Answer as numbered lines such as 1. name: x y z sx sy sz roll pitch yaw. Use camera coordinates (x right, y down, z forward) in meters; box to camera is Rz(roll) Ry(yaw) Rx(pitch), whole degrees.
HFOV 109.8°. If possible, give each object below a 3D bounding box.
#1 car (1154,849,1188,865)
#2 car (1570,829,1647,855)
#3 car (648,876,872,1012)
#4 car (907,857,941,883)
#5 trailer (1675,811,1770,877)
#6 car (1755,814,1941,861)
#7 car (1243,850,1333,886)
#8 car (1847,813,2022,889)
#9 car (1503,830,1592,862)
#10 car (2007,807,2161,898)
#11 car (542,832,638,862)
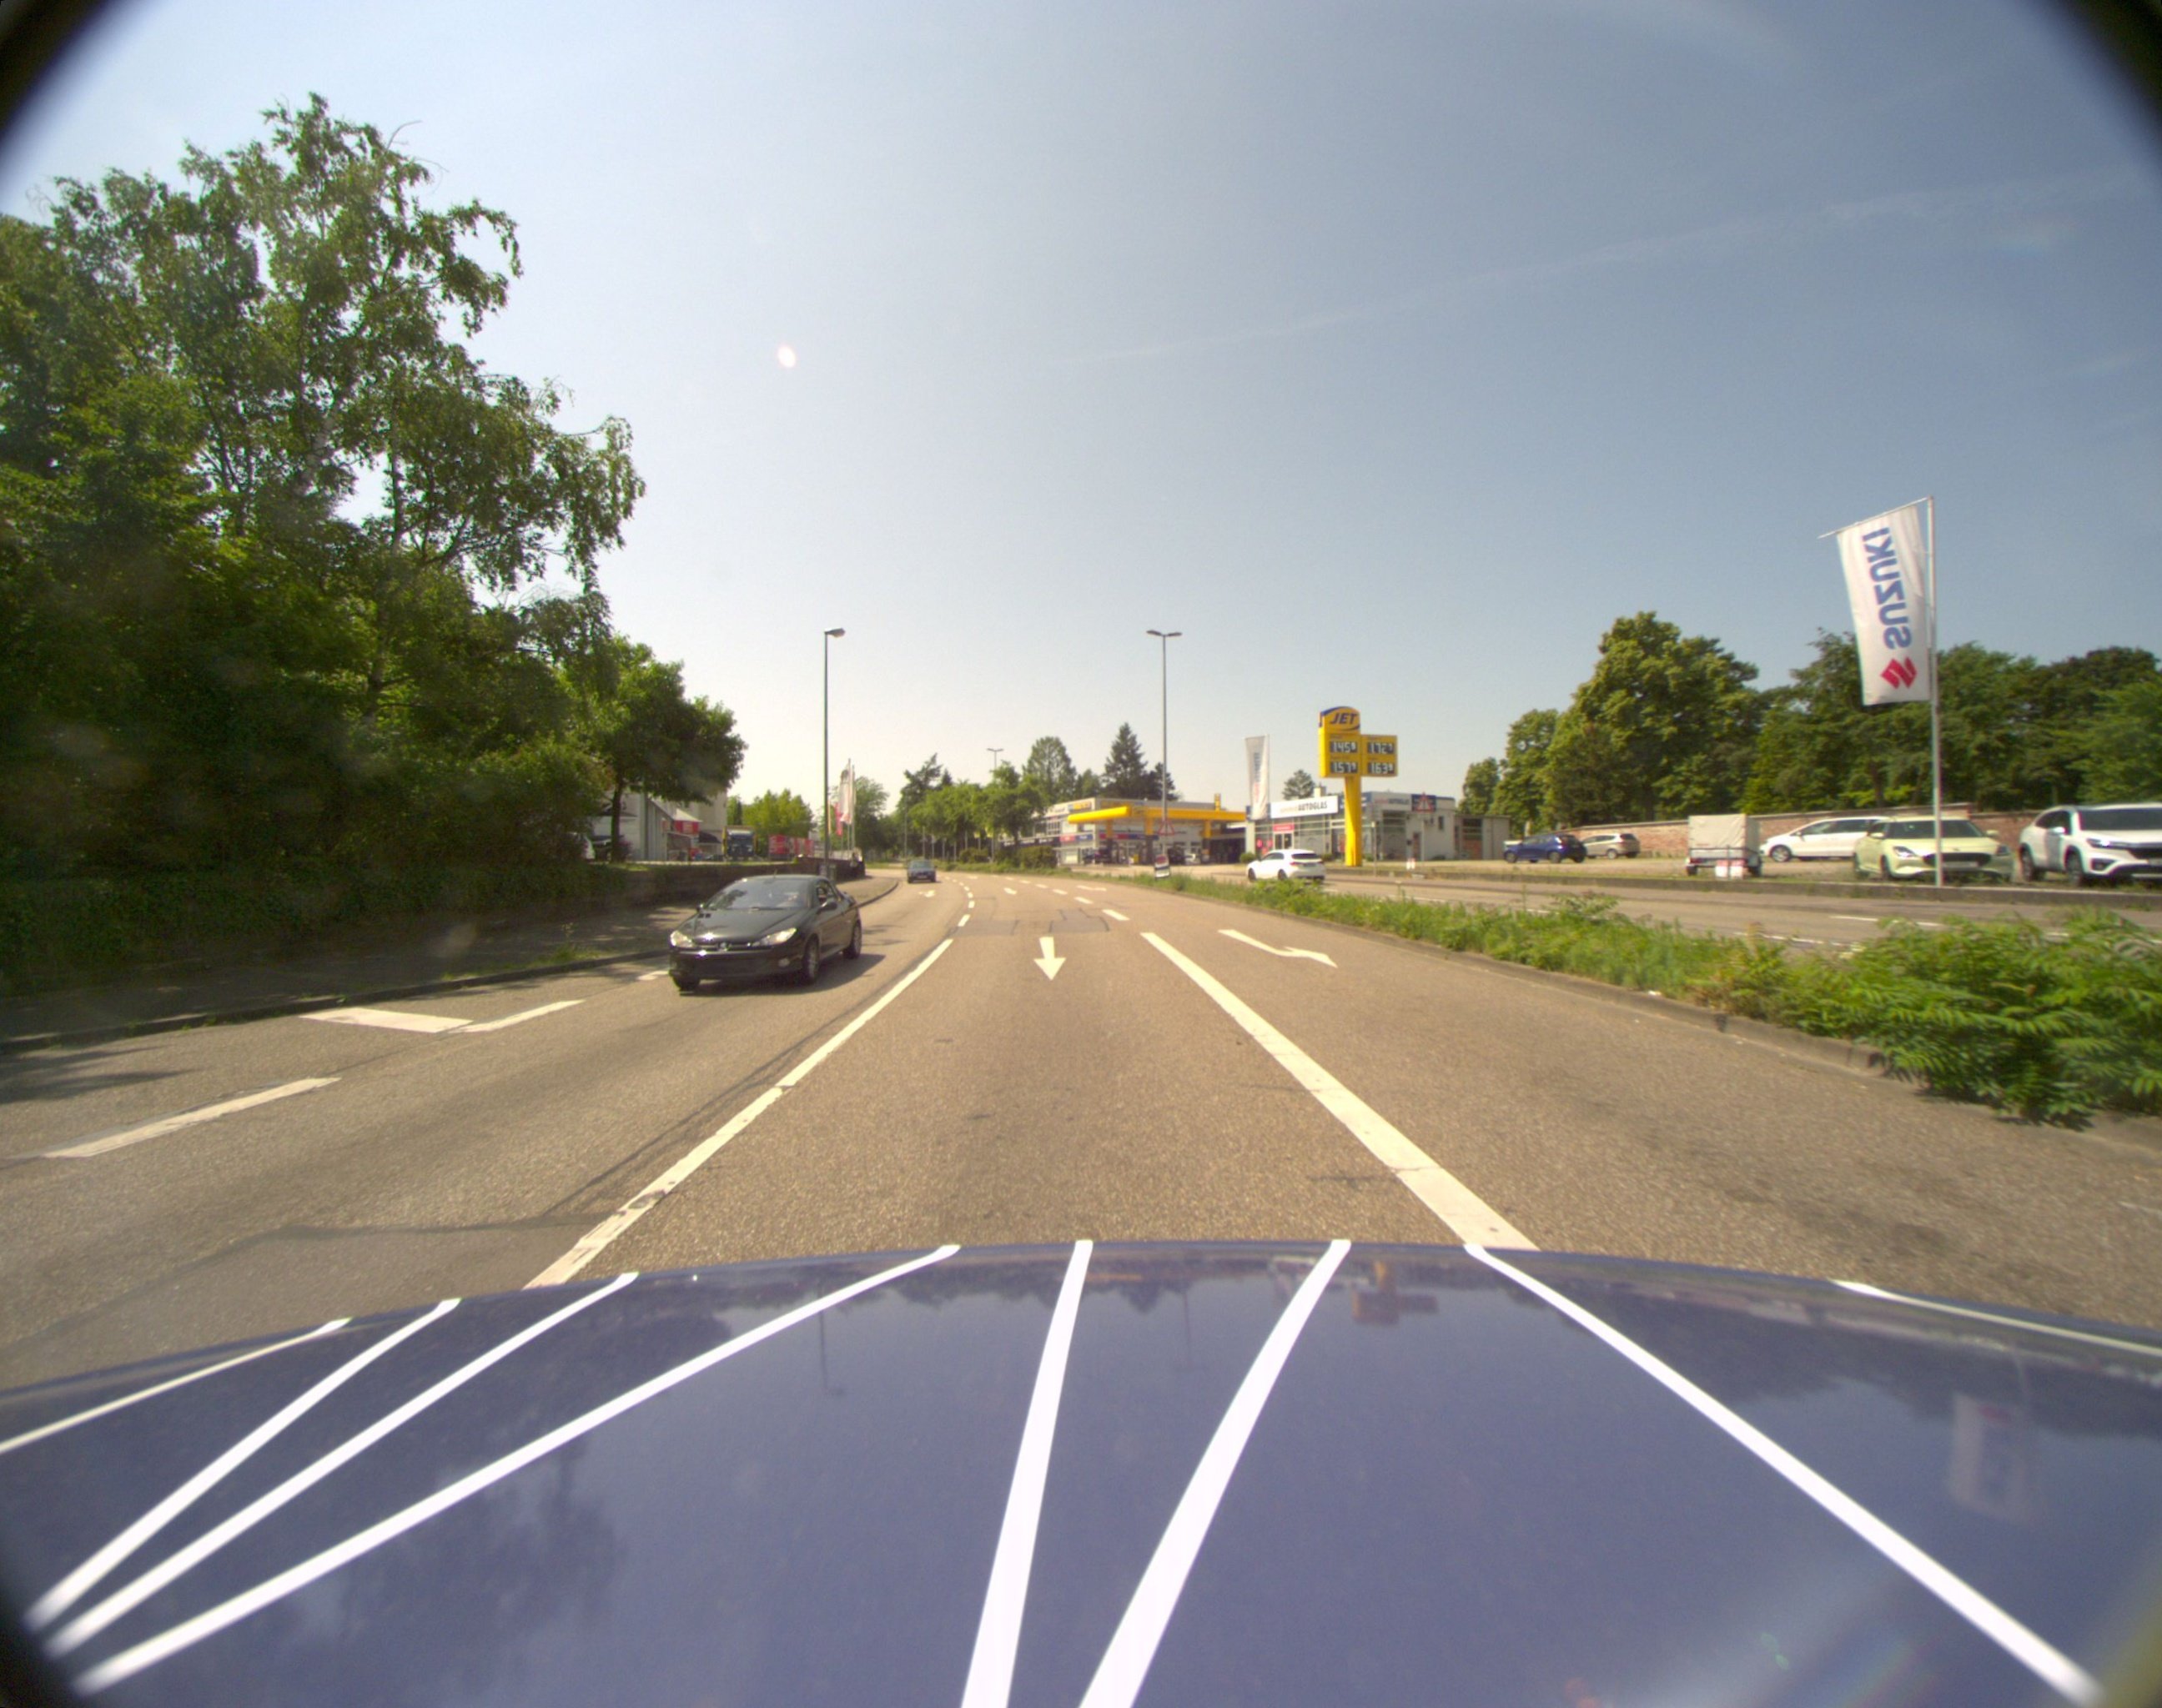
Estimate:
1. car: 9.271 0.321 78.642 1.658 1.534 4.206 -3 1 -20
2. car: 32.042 -0.697 46.275 1.621 1.497 3.625 -2 1 -18
3. car: -4.183 1.081 10.550 1.604 1.416 3.660 -2 0 -2
4. car: -9.547 0.905 45.979 1.700 1.366 3.993 -1 2 -16
5. trailer: 17.541 -0.278 20.763 2.439 1.694 1.689 -3 1 -43
6. car: 29.155 -0.597 29.119 1.696 1.640 4.749 -2 1 -20
7. car: 8.643 0.544 32.173 1.875 1.416 4.263 0 0 -13
8. car: 18.841 -0.104 16.977 1.753 1.501 3.827 -1 1 35
9. car: 23.755 -0.390 38.831 1.696 1.497 3.625 -2 1 -18
10. car: 19.813 -0.089 14.538 1.913 1.532 3.970 -1 1 39
11. car: -26.047 -0.368 40.453 4.005 1.531 1.735 -1 1 -24
